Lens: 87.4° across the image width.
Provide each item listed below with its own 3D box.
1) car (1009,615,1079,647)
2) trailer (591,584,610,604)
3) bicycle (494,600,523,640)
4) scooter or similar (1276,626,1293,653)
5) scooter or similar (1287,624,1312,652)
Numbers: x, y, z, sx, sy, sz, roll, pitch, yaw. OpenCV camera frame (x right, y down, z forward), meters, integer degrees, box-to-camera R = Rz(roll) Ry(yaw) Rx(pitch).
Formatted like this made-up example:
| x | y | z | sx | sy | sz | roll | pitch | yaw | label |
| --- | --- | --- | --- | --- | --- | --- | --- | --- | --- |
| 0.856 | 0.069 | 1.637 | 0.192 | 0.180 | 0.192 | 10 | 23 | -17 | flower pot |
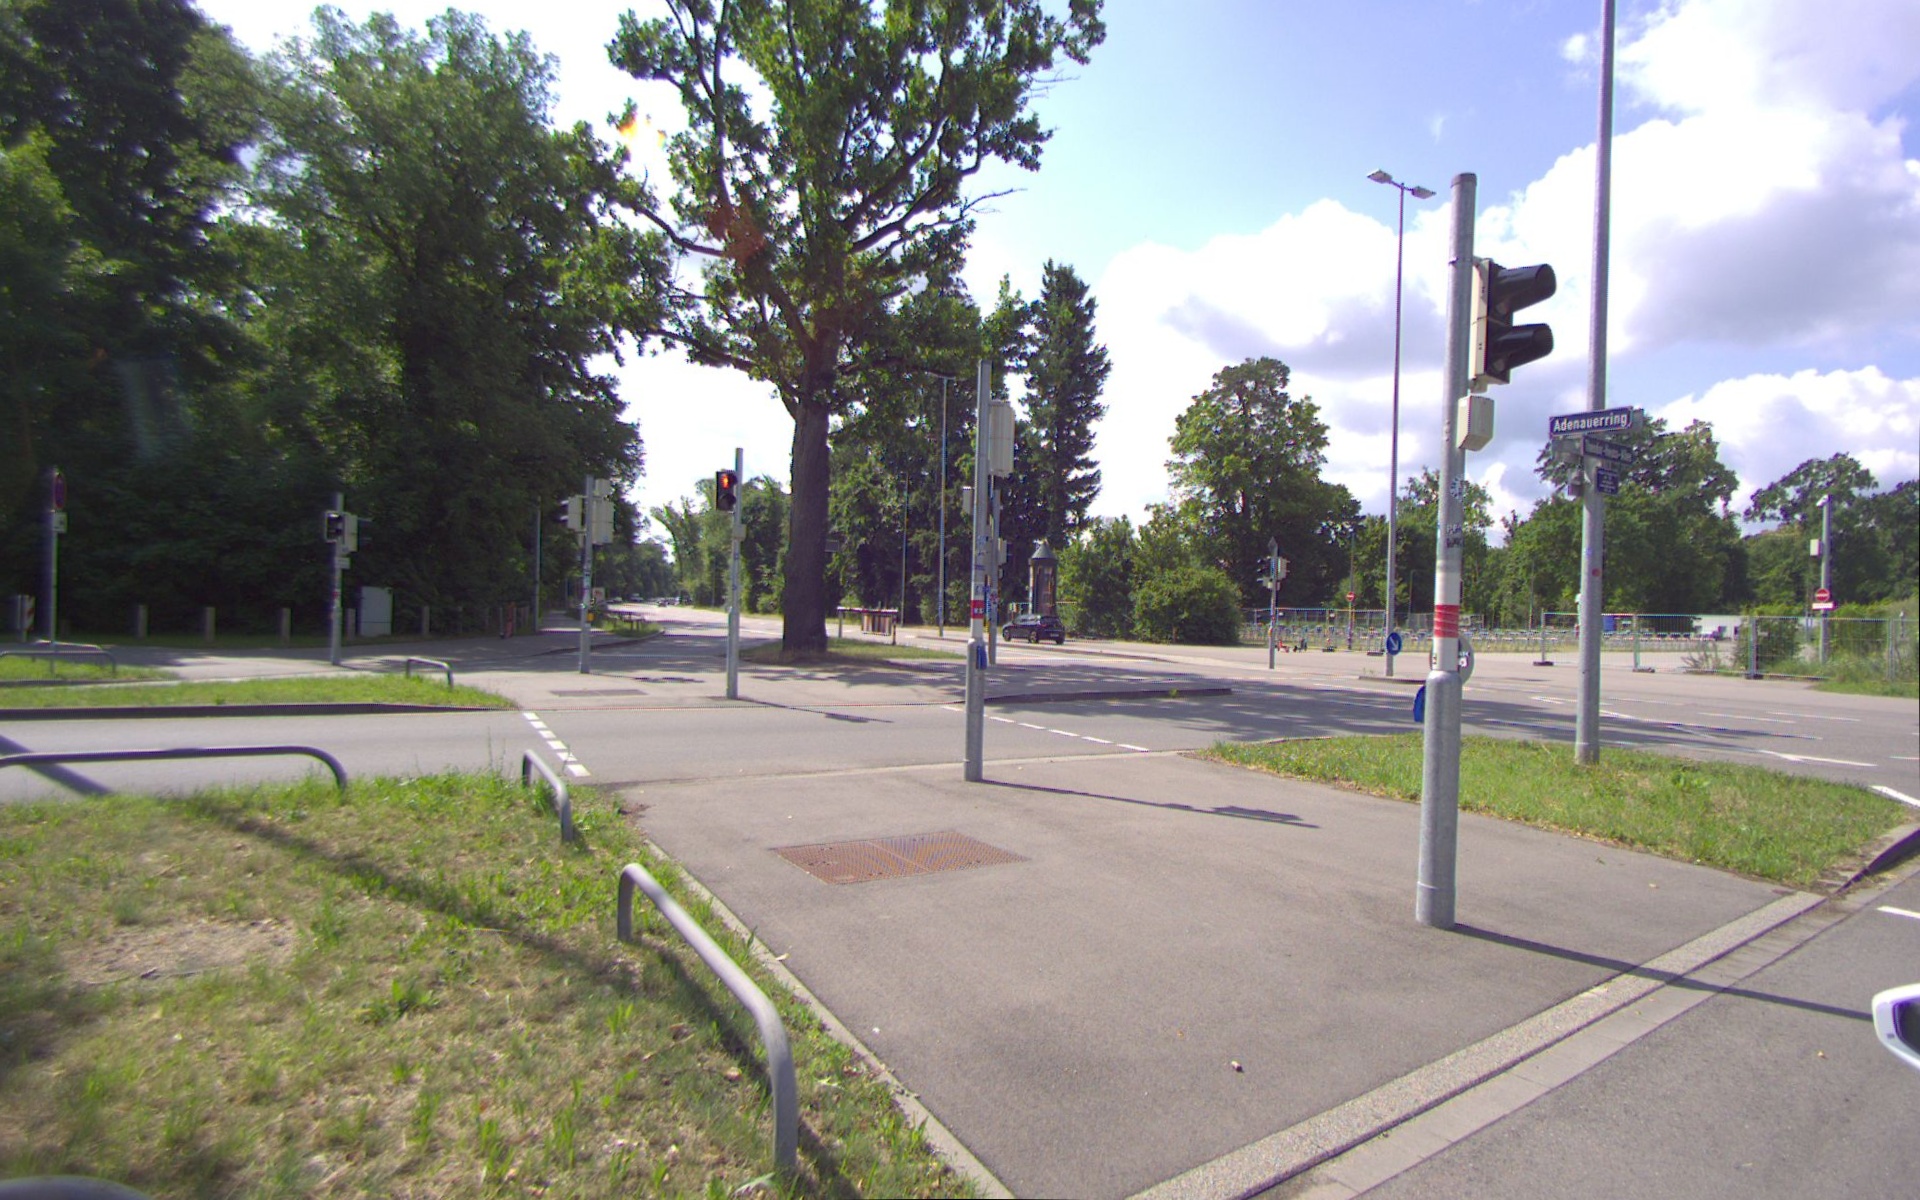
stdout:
| x | y | z | sx | sy | sz | roll | pitch | yaw | label |
| --- | --- | --- | --- | --- | --- | --- | --- | --- | --- |
| 4.191 | 1.541 | 50.504 | 1.583 | 1.396 | 3.946 | 3 | -1 | -29 | car |
| -44.503 | -0.733 | 124.242 | 1.971 | 2.420 | 3.980 | 3 | -1 | -21 | trailer |
| -13.773 | 0.611 | 30.681 | 0.413 | 1.188 | 1.228 | 3 | -1 | -7 | bicycle |
| 15.022 | 1.814 | 46.534 | 0.399 | 1.216 | 1.312 | 1 | 0 | 2 | scooter or similar |
| 15.978 | 1.775 | 47.235 | 1.299 | 1.269 | 0.403 | 1 | 0 | -36 | scooter or similar |
